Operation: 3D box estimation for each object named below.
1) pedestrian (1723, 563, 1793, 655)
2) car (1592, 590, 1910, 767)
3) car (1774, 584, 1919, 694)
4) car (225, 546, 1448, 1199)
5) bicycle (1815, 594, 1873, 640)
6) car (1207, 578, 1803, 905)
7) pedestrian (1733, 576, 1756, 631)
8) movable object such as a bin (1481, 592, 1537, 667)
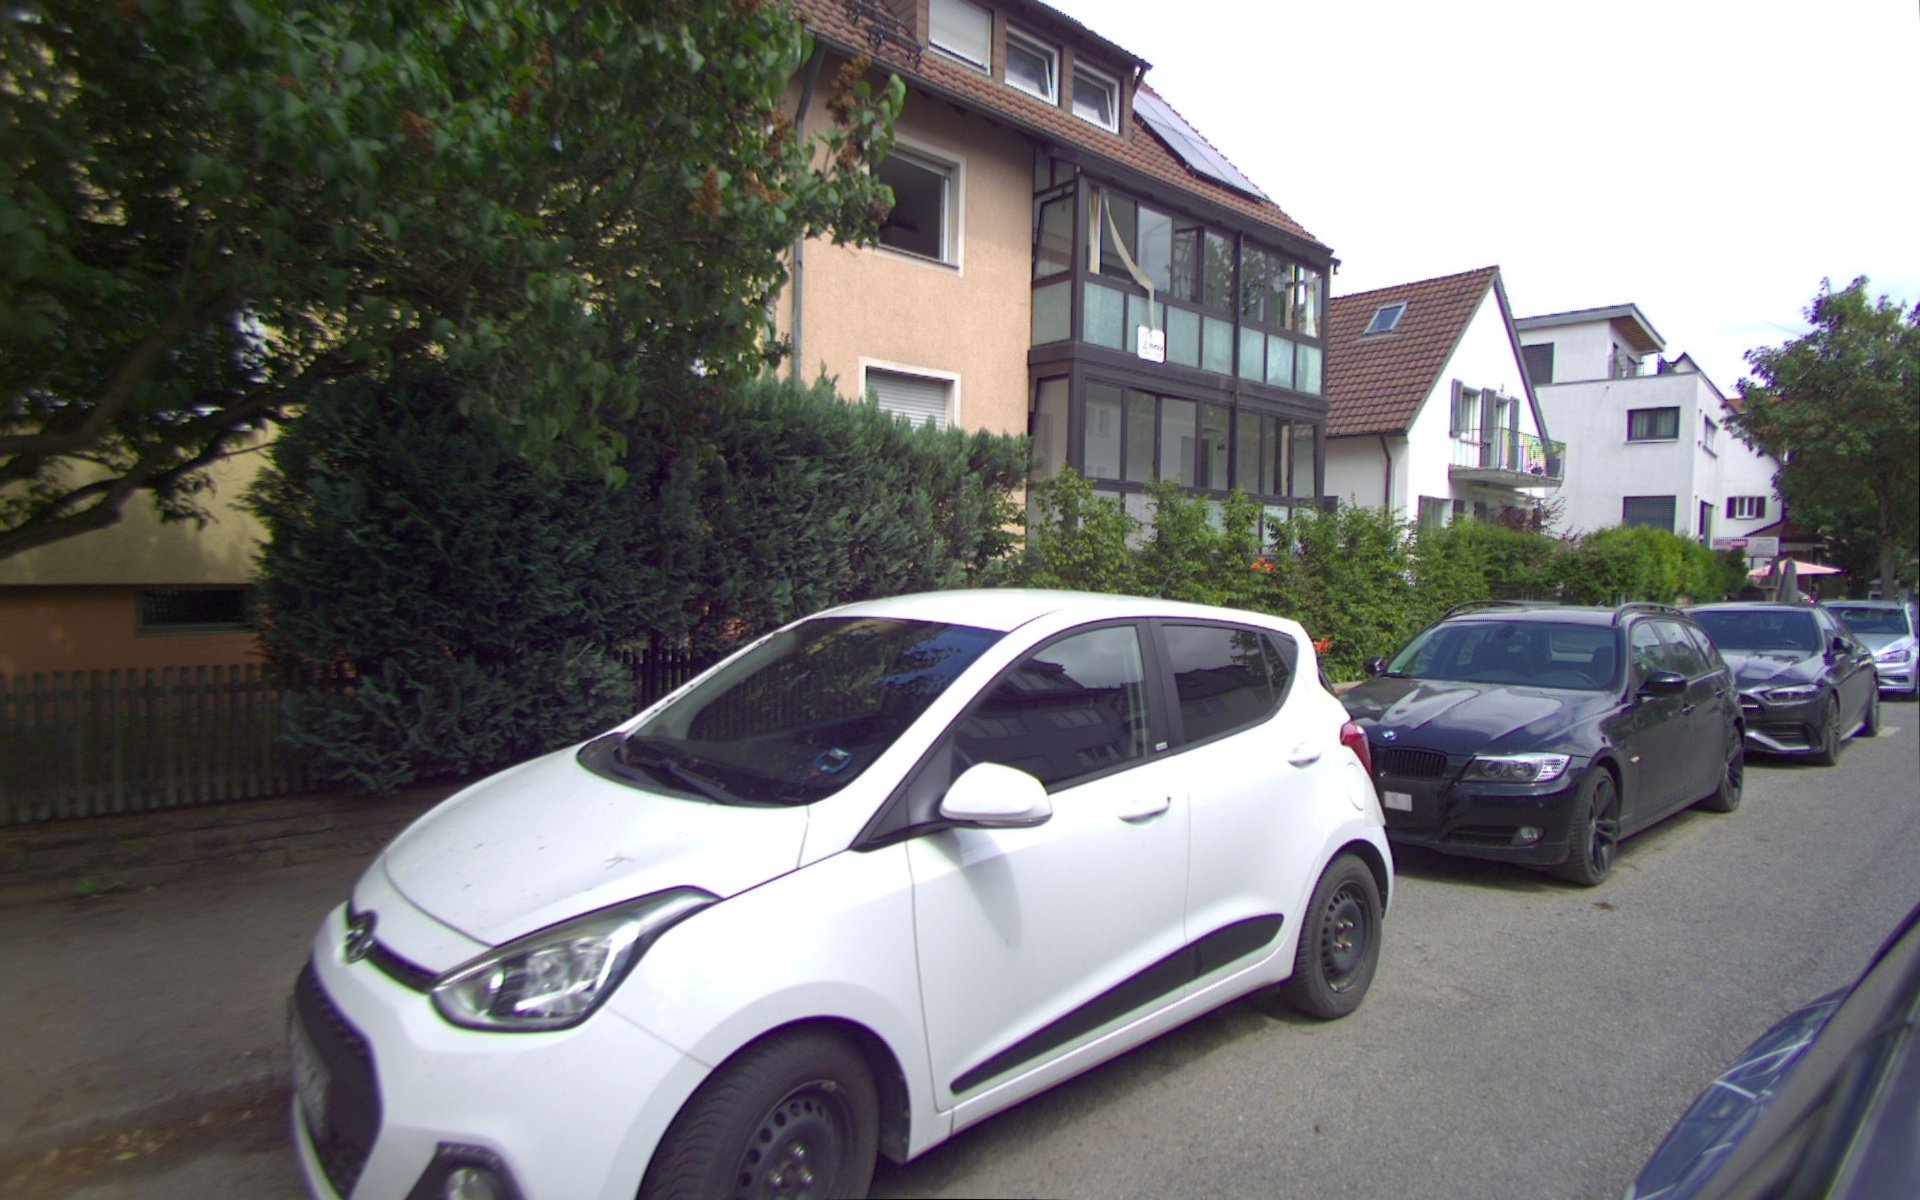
[{"bbox_3d":[15.671,0.150,19.878,0.827,1.733,0.882,-1,3,-39],"label":"pedestrian"},{"bbox_3d":[8.386,0.631,10.552,4.797,1.447,1.737,0,0,-41],"label":"car"},{"bbox_3d":[14.567,0.516,16.090,4.787,1.499,1.704,0,1,-41],"label":"car"},{"bbox_3d":[-0.053,0.643,3.328,3.713,1.526,1.625,-1,3,-41],"label":"car"},{"bbox_3d":[24.594,0.451,28.139,2.171,1.164,0.723,-1,3,-36],"label":"bicycle"},{"bbox_3d":[3.896,0.622,6.875,4.507,1.440,1.998,0,3,-40],"label":"car"},{"bbox_3d":[25.685,0.102,33.152,0.425,1.783,0.669,2,2,28],"label":"pedestrian"},{"bbox_3d":[8.381,0.435,15.452,0.593,1.093,0.525,-1,3,-35],"label":"movable object such as a bin"}]
